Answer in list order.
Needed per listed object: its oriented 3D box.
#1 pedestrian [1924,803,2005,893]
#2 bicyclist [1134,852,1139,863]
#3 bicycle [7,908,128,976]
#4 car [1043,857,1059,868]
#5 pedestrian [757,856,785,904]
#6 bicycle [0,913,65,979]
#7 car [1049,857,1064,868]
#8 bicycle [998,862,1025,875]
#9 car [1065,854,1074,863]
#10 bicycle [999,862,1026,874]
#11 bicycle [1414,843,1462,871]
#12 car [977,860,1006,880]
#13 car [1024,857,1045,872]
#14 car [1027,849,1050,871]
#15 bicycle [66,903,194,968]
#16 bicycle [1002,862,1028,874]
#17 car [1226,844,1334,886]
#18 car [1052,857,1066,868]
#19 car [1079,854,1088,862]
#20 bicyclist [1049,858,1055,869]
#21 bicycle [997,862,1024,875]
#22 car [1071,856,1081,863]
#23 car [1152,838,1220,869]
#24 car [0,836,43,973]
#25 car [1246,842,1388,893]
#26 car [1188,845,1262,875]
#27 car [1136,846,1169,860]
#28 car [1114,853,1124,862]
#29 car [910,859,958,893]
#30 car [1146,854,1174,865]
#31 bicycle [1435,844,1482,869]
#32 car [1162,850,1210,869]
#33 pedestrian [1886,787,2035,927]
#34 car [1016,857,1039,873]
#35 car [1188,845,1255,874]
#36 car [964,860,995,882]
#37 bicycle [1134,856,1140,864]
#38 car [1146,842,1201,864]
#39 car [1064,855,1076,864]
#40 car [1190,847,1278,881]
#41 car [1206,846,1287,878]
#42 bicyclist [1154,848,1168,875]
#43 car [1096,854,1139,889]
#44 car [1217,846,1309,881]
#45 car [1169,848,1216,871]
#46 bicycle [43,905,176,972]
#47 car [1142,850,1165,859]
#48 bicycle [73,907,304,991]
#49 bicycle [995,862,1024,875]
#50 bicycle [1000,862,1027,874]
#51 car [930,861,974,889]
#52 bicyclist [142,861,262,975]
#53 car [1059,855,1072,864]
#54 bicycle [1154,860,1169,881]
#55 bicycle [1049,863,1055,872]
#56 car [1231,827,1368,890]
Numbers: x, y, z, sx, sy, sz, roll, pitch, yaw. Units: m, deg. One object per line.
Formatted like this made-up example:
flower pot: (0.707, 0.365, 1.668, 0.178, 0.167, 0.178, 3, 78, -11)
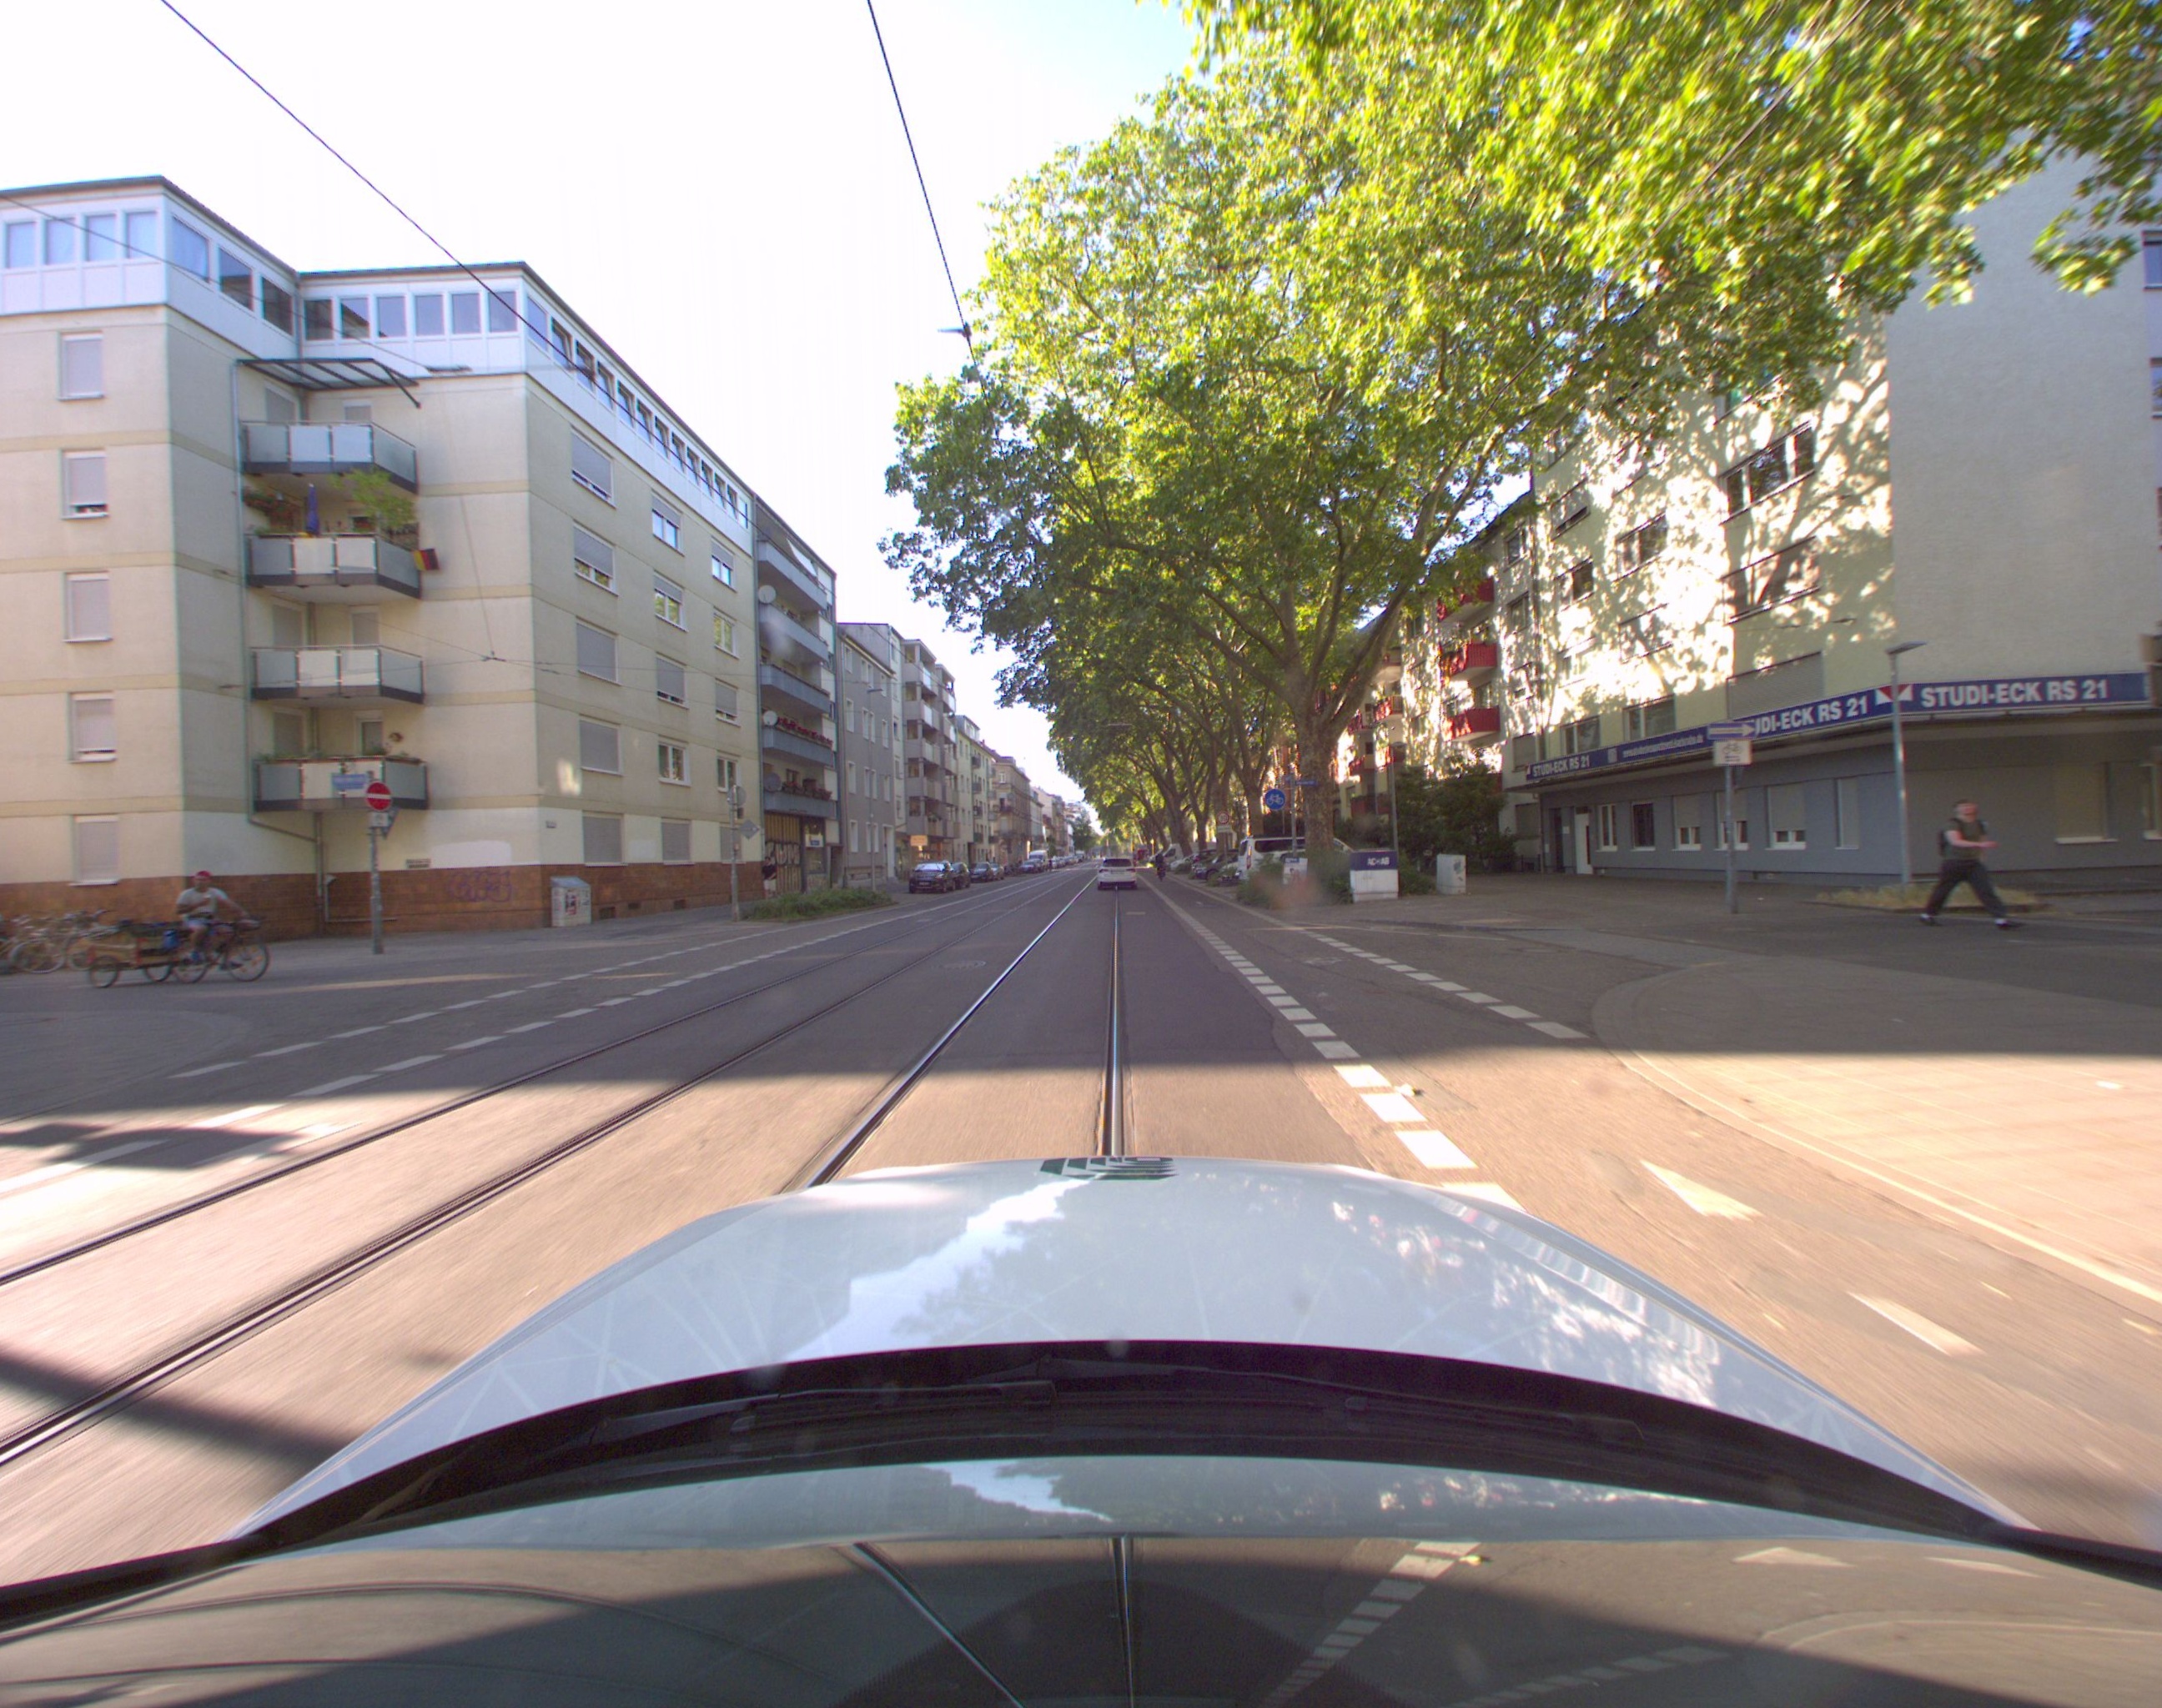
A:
pedestrian: (16.805, -0.116, 15.505, 0.743, 1.644, 0.666, -2, 0, 3)
bicyclist: (7.569, 0.481, 110.766, 0.647, 1.344, 0.934, -3, 0, 0)
bicycle: (-19.668, 1.697, 15.813, 1.740, 1.156, 0.585, -4, -1, 6)
car: (-4.330, 1.255, 119.742, 1.986, 1.530, 4.002, -2, 0, 2)
pedestrian: (-12.116, 1.018, 31.861, 0.661, 1.826, 0.965, -2, 0, 1)
bicycle: (-20.037, 1.733, 14.961, 1.612, 1.156, 0.577, -4, -1, -43)
car: (-3.906, 1.337, 128.892, 1.986, 1.530, 4.002, -2, 0, 2)
bicycle: (-6.616, 1.358, 77.441, 2.519, 1.172, 0.718, 0, -2, -3)
car: (-2.760, 1.087, 200.891, 1.986, 2.013, 4.002, -2, 0, 2)
bicycle: (-6.599, 1.358, 78.442, 2.519, 1.172, 0.718, 0, -2, -3)
bicycle: (16.445, 0.129, 37.556, 1.942, 1.156, 0.571, -4, -1, -5)
car: (-6.915, 1.235, 63.525, 1.478, 1.403, 3.995, -2, 0, 4)
car: (-5.297, 1.215, 93.473, 1.986, 1.530, 4.002, -2, 0, 2)
car: (-5.160, 0.694, 99.422, 2.170, 2.597, 4.952, -2, 0, 2)
bicycle: (-19.601, 1.671, 16.811, 1.747, 1.156, 0.583, -4, -1, -7)
bicycle: (-6.514, 1.367, 80.345, 2.520, 1.172, 0.718, 0, -2, -4)
car: (8.030, 0.447, 33.061, 3.886, 1.479, 1.723, -3, 0, -1)
car: (-3.613, 1.378, 133.697, 1.986, 1.530, 4.002, -2, 0, 2)
car: (0.537, 0.969, 203.263, 1.986, 2.013, 4.002, -2, 0, 2)
bicyclist: (-3.369, 1.090, 93.716, 0.595, 1.286, 0.917, -3, 0, -1)
bicycle: (-6.640, 1.357, 76.566, 2.520, 1.172, 0.718, 0, -2, -4)
car: (-1.185, 1.252, 181.538, 1.985, 1.640, 4.002, -1, -1, 2)
car: (9.895, -0.053, 77.331, 6.110, 2.635, 2.529, -2, 0, 0)
car: (-24.373, 1.118, 15.716, 5.788, 2.723, 2.170, -2, 0, 0)
car: (7.978, 0.445, 27.765, 4.282, 1.479, 1.831, -3, 0, 1)
car: (8.810, 0.365, 50.162, 4.220, 1.666, 1.848, -3, 0, 1)
car: (13.720, -0.202, 156.140, 6.110, 2.282, 2.529, -2, 0, 0)
car: (6.760, 0.575, 144.510, 1.754, 1.475, 4.003, -3, 0, 3)
car: (-7.682, 1.123, 42.909, 1.696, 1.650, 4.242, 0, 0, 1)
car: (12.140, 0.840, 125.396, 4.034, 1.540, 2.001, -3, 0, 2)
bicycle: (17.353, 0.118, 37.461, 1.786, 1.041, 0.617, -4, -1, -2)
car: (9.556, 0.490, 74.503, 4.041, 1.540, 1.997, -2, 0, -4)
pedestrian: (12.579, 0.044, 11.703, 0.764, 1.866, 1.188, -3, 0, -1)
car: (-5.705, 1.174, 87.699, 1.986, 1.530, 4.002, -2, 0, 2)
car: (9.018, 0.329, 52.464, 3.973, 1.680, 1.724, -3, 0, 1)
car: (-7.255, 1.210, 58.519, 1.648, 1.437, 3.837, -2, 0, 1)
bicycle: (7.588, 0.760, 110.751, 0.647, 1.071, 1.583, -3, 0, 1)
car: (10.822, -0.091, 95.941, 6.110, 2.282, 2.529, -2, 0, 0)
car: (-2.114, 1.016, 155.713, 1.985, 1.640, 4.002, -1, -1, 2)
car: (7.769, 0.506, 41.576, 4.128, 1.514, 1.931, -3, 0, 1)
car: (8.896, 0.408, 43.985, 3.973, 1.514, 1.761, -3, 0, 1)
bicyclist: (4.372, 0.421, 44.481, 0.676, 1.443, 1.048, -3, 0, 3)
car: (1.619, 0.733, 36.095, 1.754, 1.384, 4.003, -3, 0, 3)
car: (8.705, 0.449, 39.292, 4.020, 1.479, 1.924, -3, 0, 2)
car: (8.877, 0.408, 65.094, 3.617, 1.666, 1.824, -3, 0, 4)
bicycle: (-19.597, 1.689, 16.452, 1.747, 1.156, 0.583, -4, -1, -7)
car: (13.475, 0.065, 151.448, 4.034, 1.540, 2.001, -3, 0, 2)
bicycle: (-14.066, 1.481, 12.884, 2.782, 1.156, 0.923, -2, 0, 5)
bicycle: (-6.645, 1.355, 75.760, 2.545, 1.172, 0.873, 1, -2, -38)
bicycle: (-6.566, 1.358, 79.291, 2.519, 1.172, 0.718, 0, -2, -3)
car: (-7.531, 1.201, 47.891, 1.695, 1.544, 4.244, 0, 0, 2)
bicyclist: (-13.866, 0.988, 12.872, 0.867, 1.704, 0.909, -2, 0, 5)
car: (-2.874, 0.996, 149.040, 1.986, 1.530, 4.002, -2, 0, 2)
bicycle: (4.398, 0.883, 44.520, 0.679, 1.071, 1.782, -3, 0, 3)
bicycle: (-3.350, 1.541, 93.699, 0.603, 1.071, 1.583, -3, 0, 0)
car: (8.065, 0.173, 30.344, 4.529, 2.076, 2.000, -3, 0, 0)
